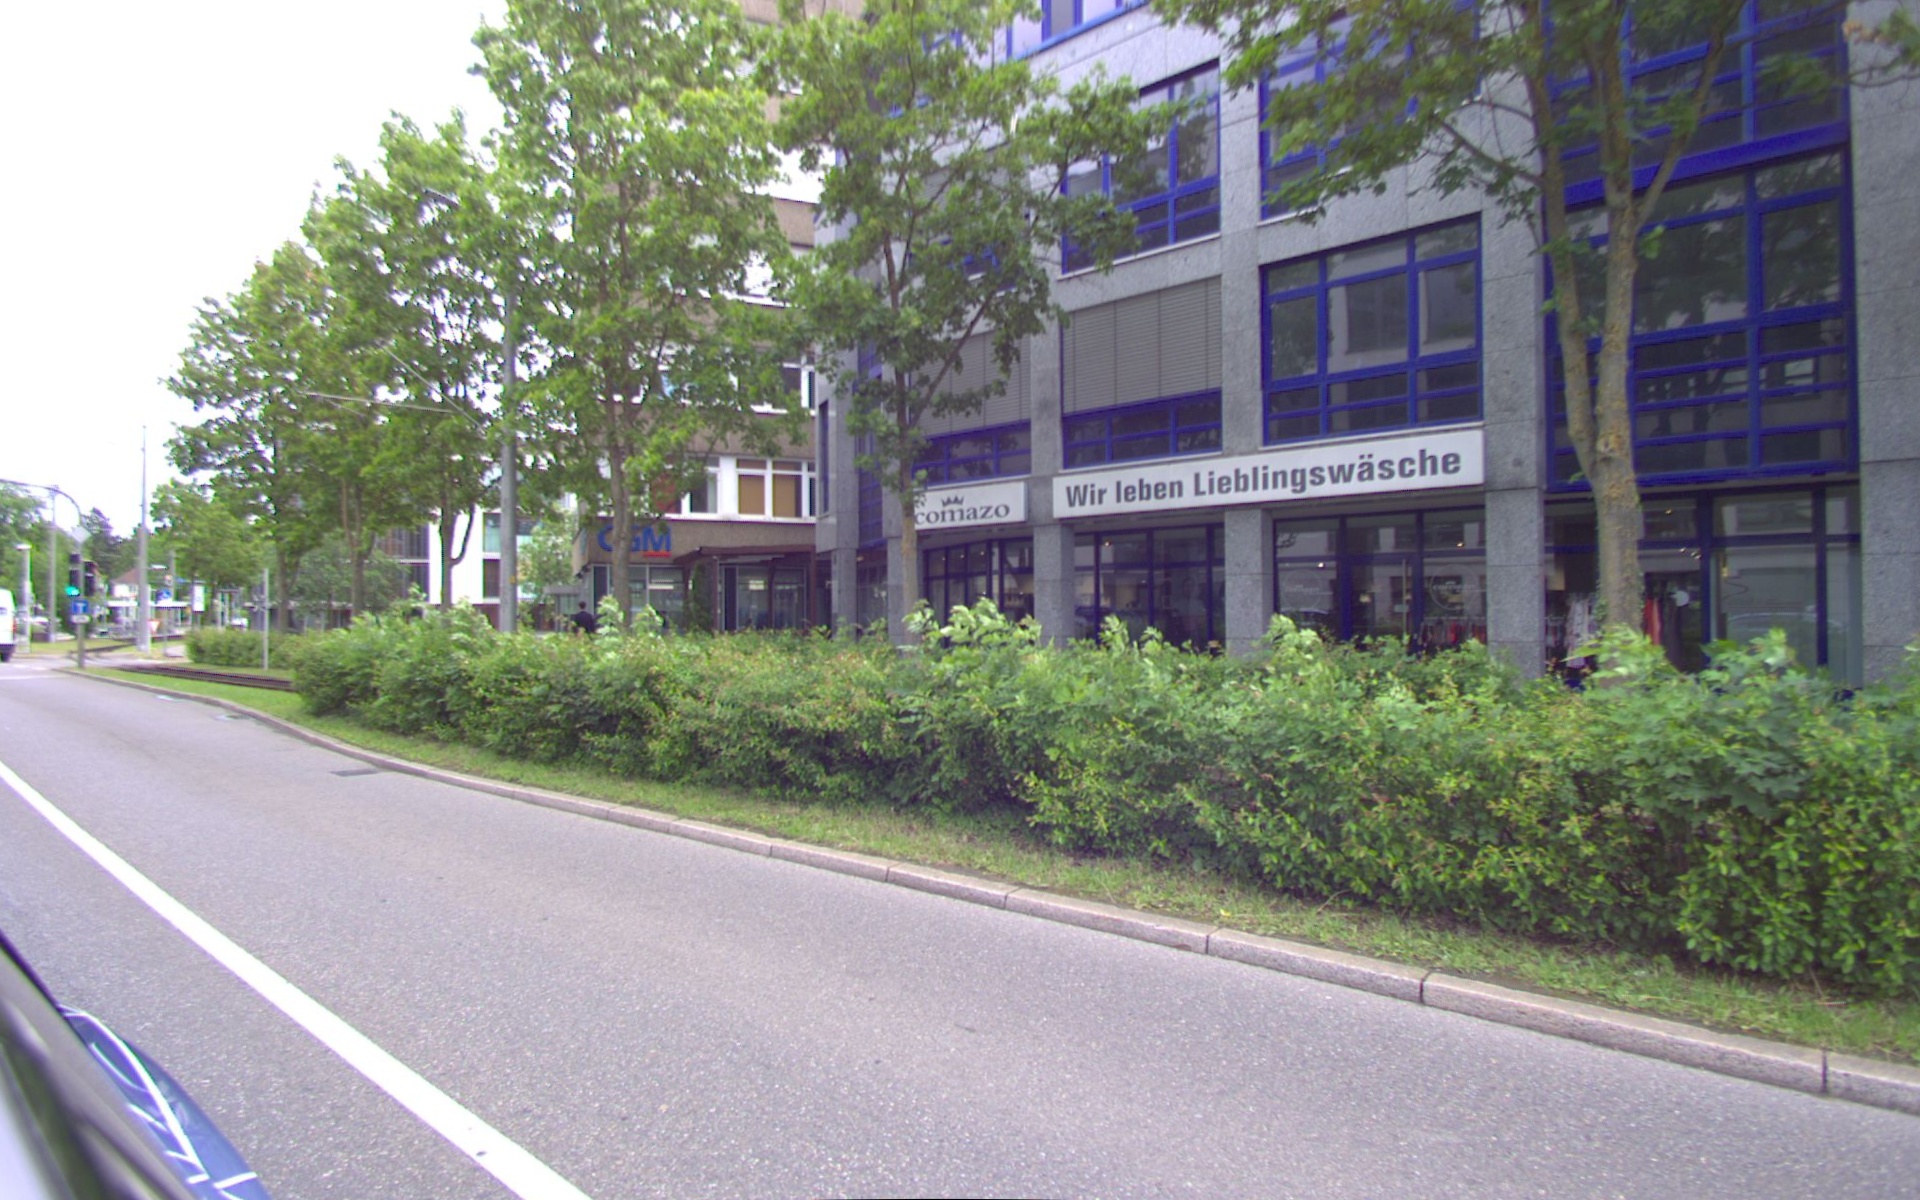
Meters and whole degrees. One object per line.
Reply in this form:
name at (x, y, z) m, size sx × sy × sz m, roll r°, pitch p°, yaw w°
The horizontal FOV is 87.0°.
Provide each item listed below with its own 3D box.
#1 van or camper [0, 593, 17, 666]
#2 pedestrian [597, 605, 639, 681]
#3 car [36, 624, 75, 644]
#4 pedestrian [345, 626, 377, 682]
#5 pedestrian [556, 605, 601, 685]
van or camper at (-38.991, 1.121, 39.369) m, size 6.136 × 2.754 × 2.090 m, roll -1°, pitch 0°, yaw 34°
pedestrian at (-8.791, 1.098, 26.027) m, size 0.731 × 1.908 × 0.766 m, roll -1°, pitch 0°, yaw 40°
car at (-98.162, 3.657, 109.902) m, size 1.965 × 2.029 × 4.013 m, roll 0°, pitch 0°, yaw -24°
pedestrian at (-19.998, 1.788, 33.786) m, size 0.730 × 1.819 × 0.672 m, roll -1°, pitch 0°, yaw 36°
pedestrian at (-9.516, 1.098, 25.227) m, size 0.731 × 1.938 × 0.805 m, roll -1°, pitch 0°, yaw 40°
